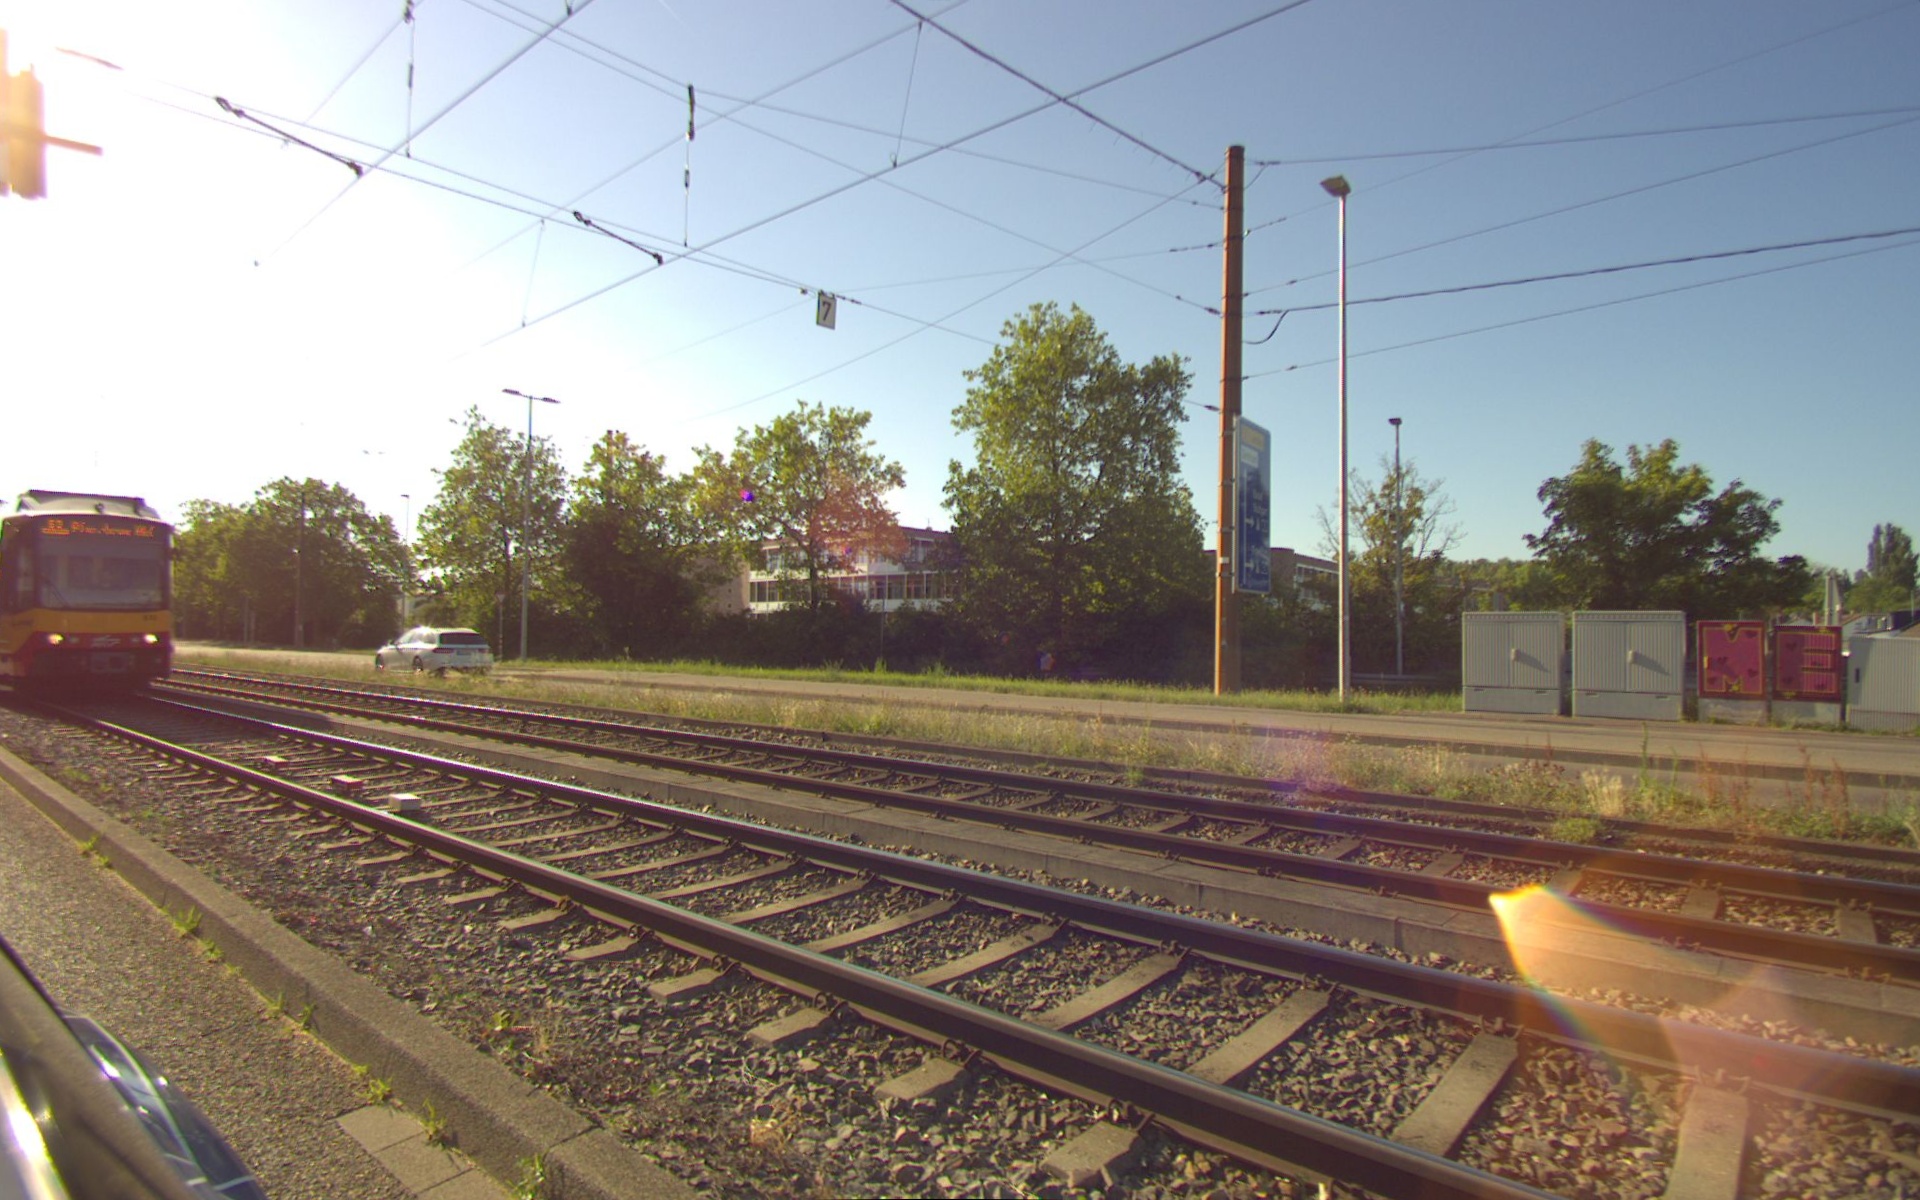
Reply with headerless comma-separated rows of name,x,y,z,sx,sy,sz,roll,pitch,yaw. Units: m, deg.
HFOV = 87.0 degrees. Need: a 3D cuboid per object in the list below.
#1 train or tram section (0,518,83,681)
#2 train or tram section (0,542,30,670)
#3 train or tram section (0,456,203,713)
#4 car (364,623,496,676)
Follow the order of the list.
train or tram section,-27.811,0.081,28.986,9.906,4.120,2.666,-1,-3,42
train or tram section,-36.719,0.282,36.666,13.605,4.122,2.693,-1,-3,40
train or tram section,-19.335,-0.094,21.448,12.808,4.120,2.690,-1,-3,42
car,-15.559,1.428,29.595,4.910,1.423,1.748,-1,-4,42
